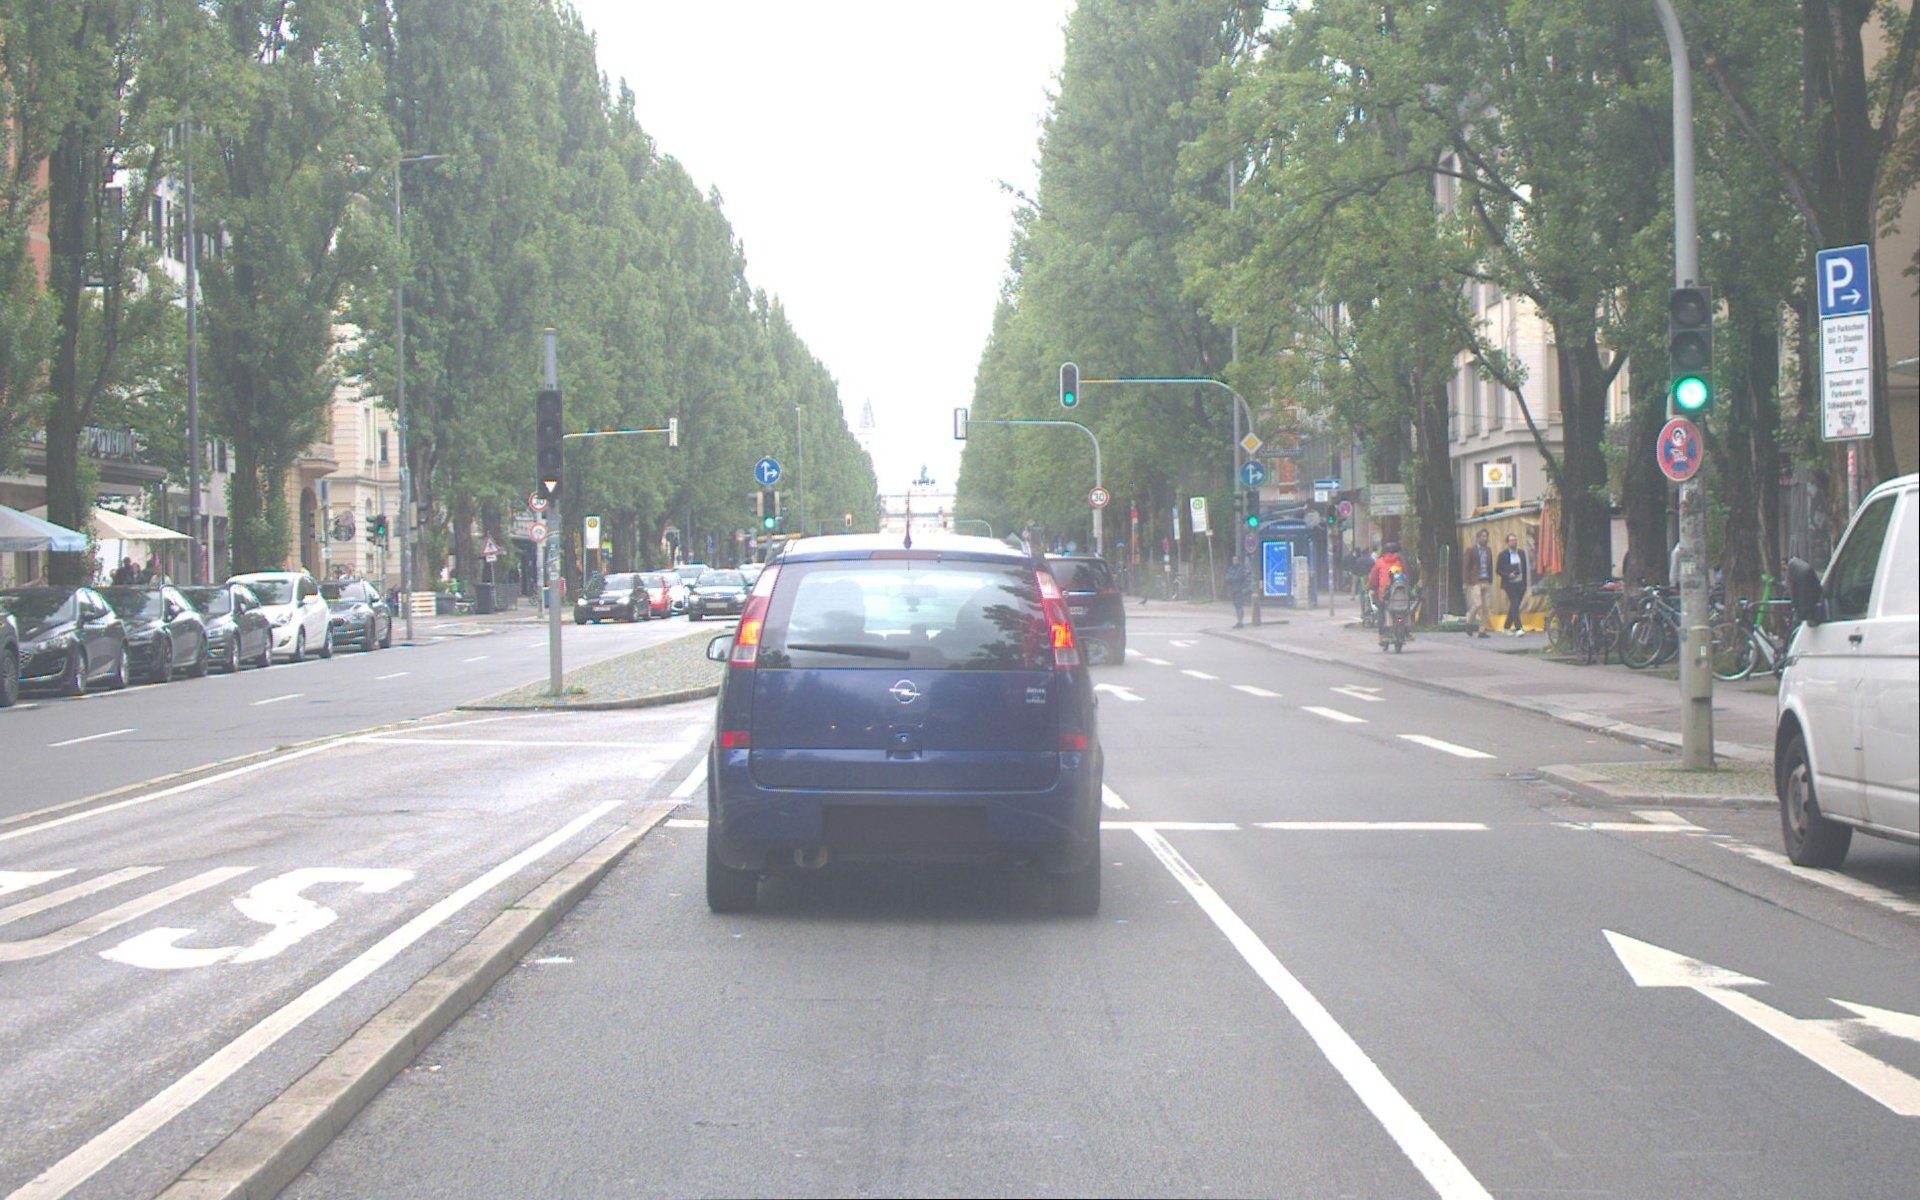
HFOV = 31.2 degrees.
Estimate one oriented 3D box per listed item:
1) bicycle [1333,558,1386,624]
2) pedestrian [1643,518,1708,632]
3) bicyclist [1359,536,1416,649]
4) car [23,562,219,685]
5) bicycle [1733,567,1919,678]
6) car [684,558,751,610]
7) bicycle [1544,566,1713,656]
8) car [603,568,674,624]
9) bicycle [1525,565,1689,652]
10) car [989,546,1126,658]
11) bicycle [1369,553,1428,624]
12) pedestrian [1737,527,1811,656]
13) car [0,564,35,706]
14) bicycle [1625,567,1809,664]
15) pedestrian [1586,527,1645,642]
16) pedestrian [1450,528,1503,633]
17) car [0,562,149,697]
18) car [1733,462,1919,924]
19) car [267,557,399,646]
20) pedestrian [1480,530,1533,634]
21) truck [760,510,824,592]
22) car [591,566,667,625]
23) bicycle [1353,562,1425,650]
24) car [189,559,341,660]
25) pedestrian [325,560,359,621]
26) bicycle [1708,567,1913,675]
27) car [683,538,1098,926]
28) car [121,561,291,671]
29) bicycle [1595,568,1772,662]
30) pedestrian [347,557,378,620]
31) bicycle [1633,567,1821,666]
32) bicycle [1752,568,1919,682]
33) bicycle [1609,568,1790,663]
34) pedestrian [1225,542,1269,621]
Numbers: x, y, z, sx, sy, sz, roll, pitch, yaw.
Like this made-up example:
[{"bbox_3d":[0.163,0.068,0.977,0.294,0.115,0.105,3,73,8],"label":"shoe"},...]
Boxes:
[{"bbox_3d":[8.331,-0.199,71.778,0.772,1.344,2.449,-1,1,-1],"label":"bicycle"},{"bbox_3d":[11.567,-0.405,55.599,0.719,1.820,0.888,1,0,-10],"label":"pedestrian"},{"bbox_3d":[6.761,-0.128,54.390,0.767,1.760,0.885,-1,1,-1],"label":"bicyclist"},{"bbox_3d":[-12.376,0.306,50.938,1.866,1.660,4.120,-2,1,-1],"label":"car"},{"bbox_3d":[9.999,0.252,39.171,2.227,1.200,0.626,-1,1,-2],"label":"bicycle"},{"bbox_3d":[-7.035,-0.470,100.061,1.735,1.460,3.365,-1,1,-1],"label":"car"},{"bbox_3d":[9.379,0.154,48.260,2.227,1.200,0.626,-1,1,-2],"label":"bicycle"},{"bbox_3d":[-10.038,-0.140,107.510,1.866,1.660,4.120,-1,1,-1],"label":"car"},{"bbox_3d":[9.338,0.119,49.638,2.227,1.200,0.626,-1,1,-2],"label":"bicycle"},{"bbox_3d":[1.418,0.002,51.346,1.896,1.616,4.000,0,1,0],"label":"car"},{"bbox_3d":[8.495,-0.229,66.668,0.772,1.344,2.449,-1,1,-1],"label":"bicycle"},{"bbox_3d":[11.727,-0.122,49.553,0.719,1.820,0.888,1,0,-10],"label":"pedestrian"},{"bbox_3d":[-12.167,0.459,39.494,1.866,1.660,4.401,-2,1,-1],"label":"car"},{"bbox_3d":[9.802,0.199,44.550,2.227,1.200,0.626,-1,1,-2],"label":"bicycle"},{"bbox_3d":[10.554,-0.246,55.351,0.636,1.820,0.888,1,0,-10],"label":"pedestrian"},{"bbox_3d":[9.051,-0.335,60.303,0.636,1.820,0.888,1,0,-10],"label":"pedestrian"},{"bbox_3d":[-12.208,0.374,45.691,1.866,1.660,4.120,-2,1,-1],"label":"car"},{"bbox_3d":[4.908,0.373,15.355,1.787,1.939,4.731,0,1,-1],"label":"car"},{"bbox_3d":[-12.545,0.009,69.001,1.866,1.660,4.120,-2,1,-1],"label":"car"},{"bbox_3d":[9.659,-0.324,60.791,0.636,1.820,0.888,1,0,-10],"label":"pedestrian"},{"bbox_3d":[-7.061,-2.060,145.392,2.383,3.335,7.111,-1,1,-1],"label":"truck"},{"bbox_3d":[-9.744,-0.153,101.449,1.866,1.660,4.120,-1,1,-1],"label":"car"},{"bbox_3d":[6.764,0.077,54.272,0.772,1.344,2.449,-1,1,-1],"label":"bicycle"},{"bbox_3d":[-12.440,0.137,61.726,1.866,1.660,4.120,-2,1,-1],"label":"car"},{"bbox_3d":[-17.938,-0.279,99.749,0.767,1.760,0.885,-1,1,-25],"label":"pedestrian"},{"bbox_3d":[9.952,0.238,40.254,2.227,1.200,0.626,-1,1,-2],"label":"bicycle"},{"bbox_3d":[-0.292,0.507,15.854,1.671,1.563,4.000,0,1,0],"label":"car"},{"bbox_3d":[-12.335,0.227,56.465,1.866,1.660,4.120,-2,1,-1],"label":"car"},{"bbox_3d":[9.704,0.194,46.143,2.227,1.200,0.626,-1,1,-2],"label":"bicycle"},{"bbox_3d":[-16.987,-0.339,97.723,0.767,1.760,0.885,-1,1,-15],"label":"pedestrian"},{"bbox_3d":[9.750,0.204,43.741,2.227,1.200,0.626,-1,1,-2],"label":"bicycle"},{"bbox_3d":[9.969,0.266,38.059,2.227,1.200,0.626,-1,1,-2],"label":"bicycle"},{"bbox_3d":[9.744,0.197,45.348,2.227,1.200,0.626,-1,1,-2],"label":"bicycle"},{"bbox_3d":[6.461,-0.418,77.473,0.882,1.760,0.770,-1,1,-3],"label":"pedestrian"}]
